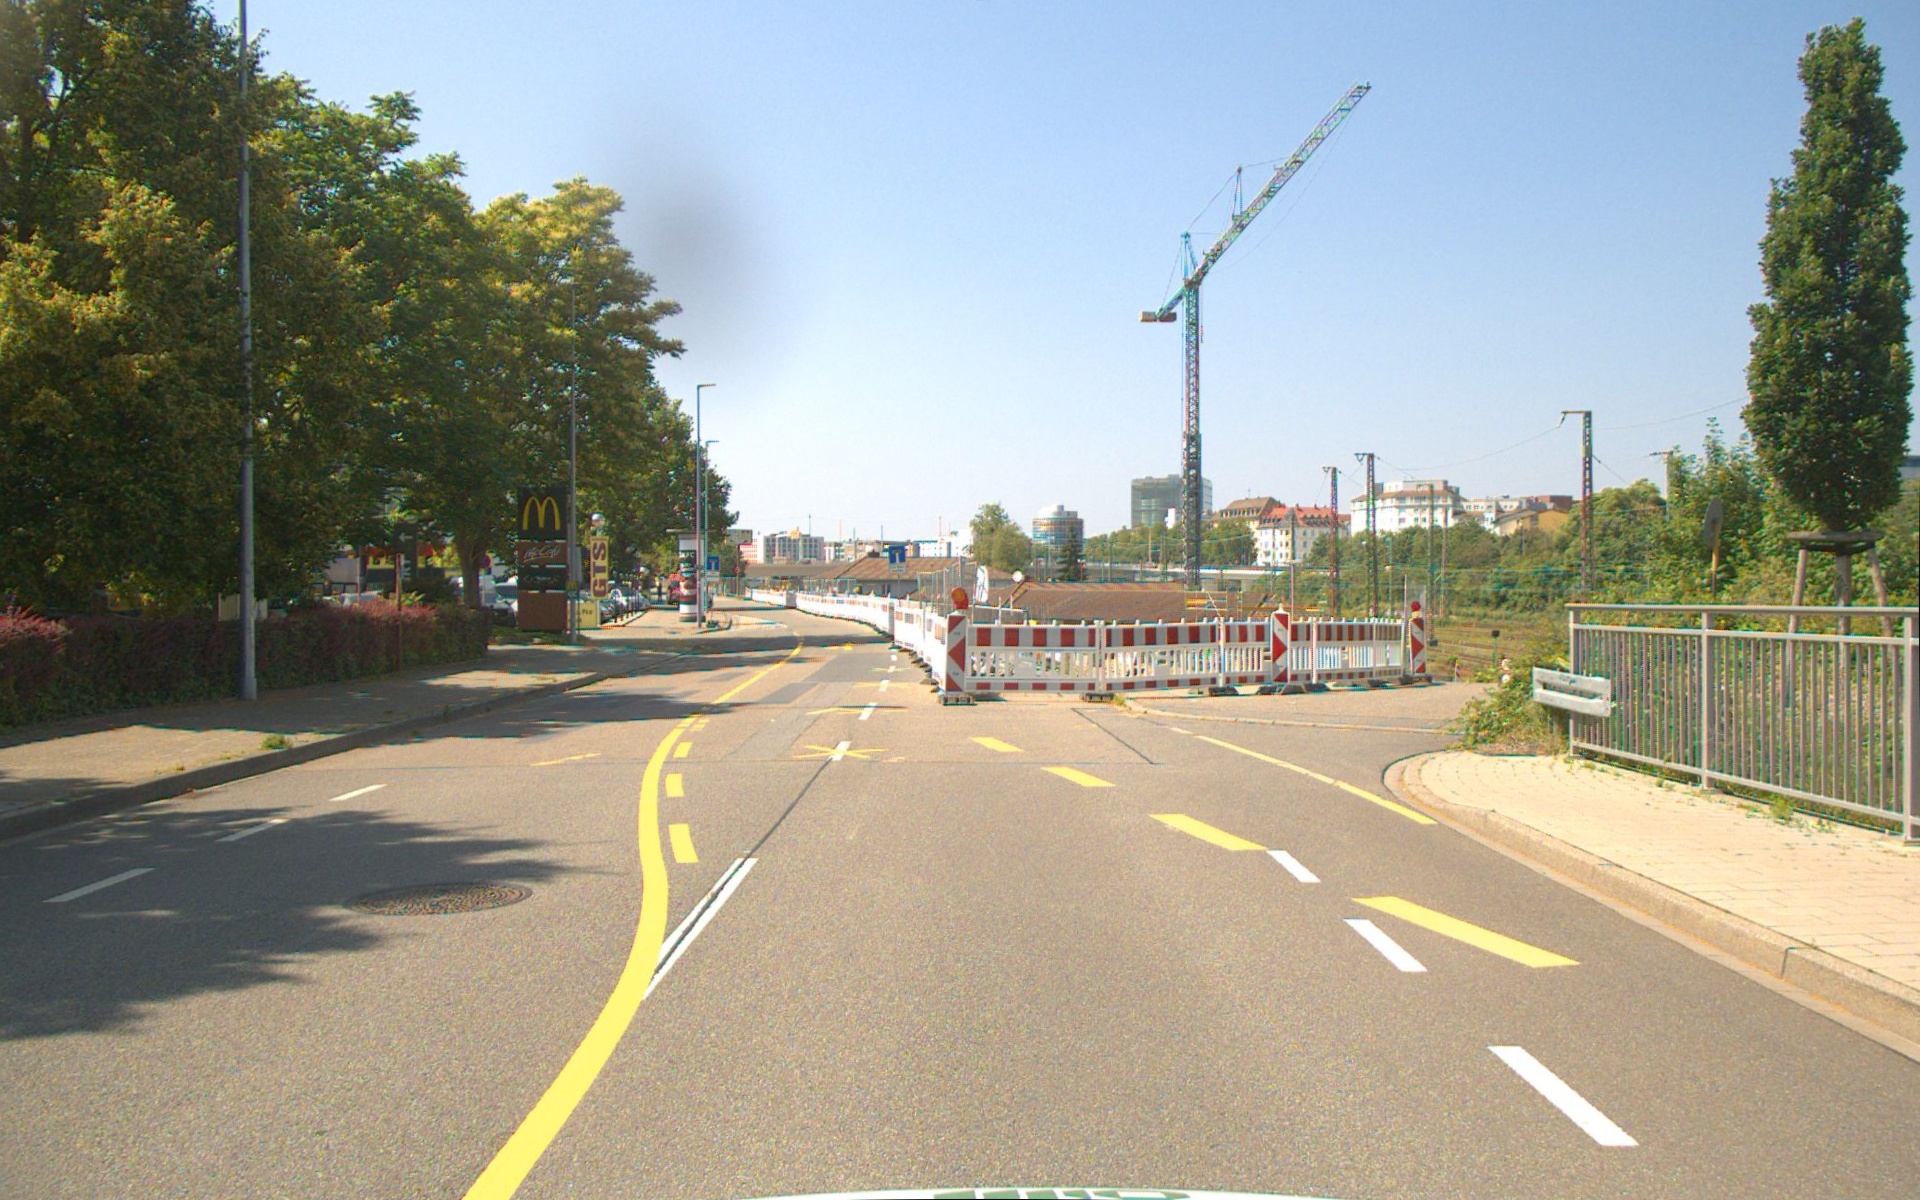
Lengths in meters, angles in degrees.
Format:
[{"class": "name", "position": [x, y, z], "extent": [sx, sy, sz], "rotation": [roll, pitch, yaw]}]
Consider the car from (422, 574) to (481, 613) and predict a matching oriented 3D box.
[{"class": "car", "position": [-26.351, -0.327, 85.624], "extent": [1.975, 1.937, 3.954], "rotation": [0, 0, -33]}]

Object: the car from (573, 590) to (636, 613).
[{"class": "car", "position": [-22.375, 0.101, 104.111], "extent": [3.597, 1.445, 1.574], "rotation": [0, 0, 14]}]

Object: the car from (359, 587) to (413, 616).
[{"class": "car", "position": [-29.350, 0.072, 84.552], "extent": [1.556, 1.445, 3.638], "rotation": [0, 0, -37]}]
